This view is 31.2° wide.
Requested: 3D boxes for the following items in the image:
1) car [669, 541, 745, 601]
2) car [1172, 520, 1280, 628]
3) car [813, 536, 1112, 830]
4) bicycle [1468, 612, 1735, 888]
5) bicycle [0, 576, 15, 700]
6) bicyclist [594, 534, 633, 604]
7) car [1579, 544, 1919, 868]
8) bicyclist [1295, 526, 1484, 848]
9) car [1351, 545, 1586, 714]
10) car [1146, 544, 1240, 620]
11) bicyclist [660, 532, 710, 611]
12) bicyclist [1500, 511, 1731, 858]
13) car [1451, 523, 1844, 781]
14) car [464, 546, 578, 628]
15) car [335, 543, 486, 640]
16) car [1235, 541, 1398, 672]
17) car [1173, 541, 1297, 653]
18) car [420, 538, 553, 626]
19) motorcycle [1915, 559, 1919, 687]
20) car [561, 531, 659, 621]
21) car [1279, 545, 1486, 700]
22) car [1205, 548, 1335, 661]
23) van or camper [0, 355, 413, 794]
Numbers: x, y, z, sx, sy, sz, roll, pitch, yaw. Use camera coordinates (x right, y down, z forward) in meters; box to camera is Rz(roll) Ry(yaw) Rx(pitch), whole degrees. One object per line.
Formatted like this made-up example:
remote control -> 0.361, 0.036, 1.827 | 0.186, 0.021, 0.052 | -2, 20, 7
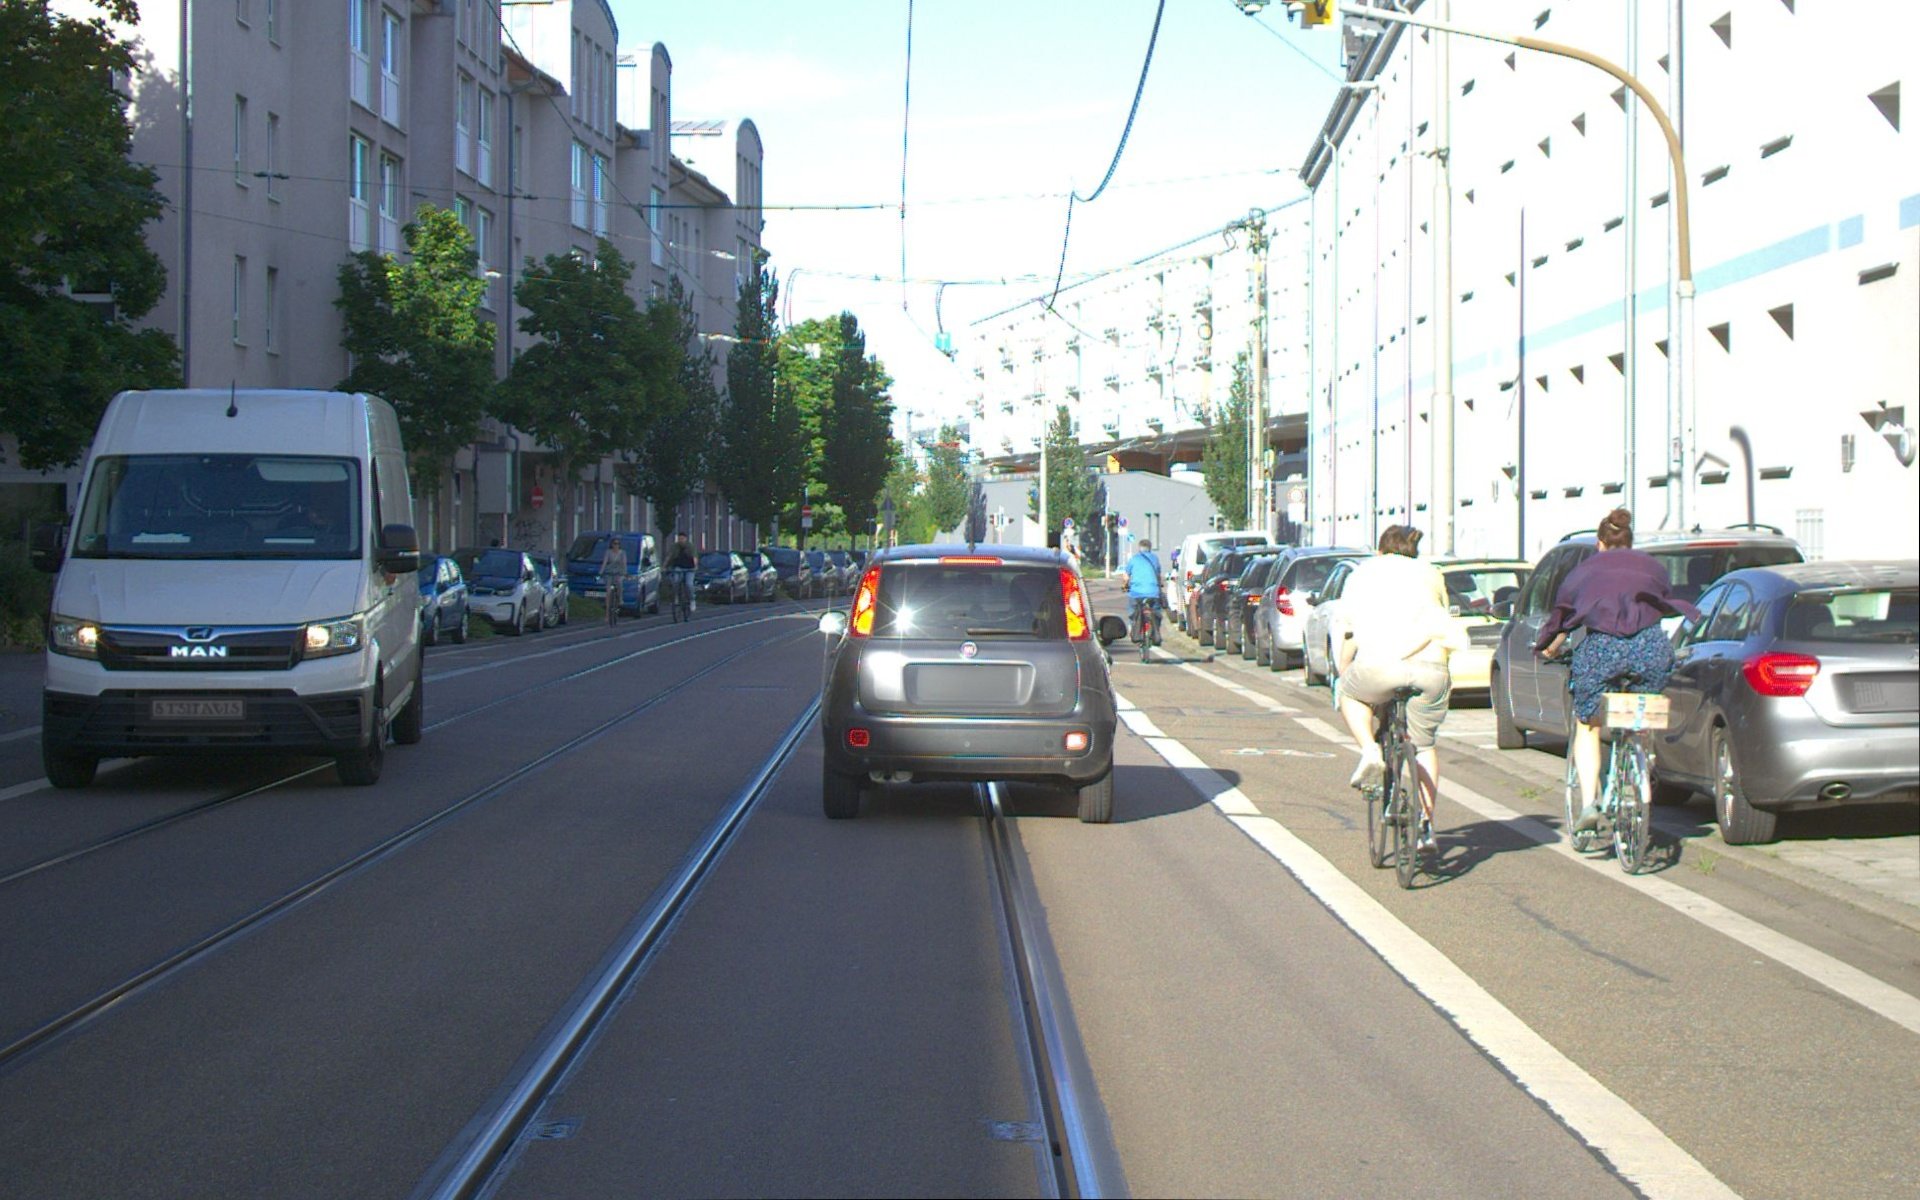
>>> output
car -> -6.925, -0.813, 94.538 | 1.665, 1.612, 4.000 | 1, 1, 2
car -> 5.034, -0.515, 65.508 | 1.786, 1.964, 4.154 | -1, 1, 1
car -> -0.023, 0.406, 19.847 | 1.556, 1.527, 3.487 | 1, 1, -1
bicycle -> 3.225, 0.718, 17.542 | 0.821, 1.232, 2.462 | 2, 1, -1
bicycle -> -9.301, 0.325, 30.125 | 1.877, 1.081, 0.595 | 0, 1, 2
bicyclist -> -7.072, -0.636, 70.145 | 0.623, 1.376, 0.868 | -4, 1, 0
car -> 4.735, 0.488, 19.086 | 1.864, 1.549, 4.366 | -1, 1, 1
bicyclist -> 2.000, 0.385, 16.127 | 0.727, 1.457, 1.021 | 1, 1, -1
car -> 4.866, 0.234, 33.402 | 1.513, 1.426, 4.202 | -4, 1, -1
car -> 5.180, -0.426, 77.018 | 1.844, 1.640, 4.549 | 0, 1, 1
bicyclist -> -5.584, -0.589, 69.796 | 0.881, 1.556, 0.868 | -3, 1, 0
bicyclist -> 3.255, 0.402, 17.152 | 0.934, 1.670, 0.969 | 1, 1, -1
car -> 4.834, 0.302, 24.827 | 1.754, 1.660, 4.626 | -1, 1, -2
car -> -8.841, -0.295, 69.511 | 1.829, 1.588, 4.000 | 0, 1, 0
car -> -9.014, -0.167, 56.671 | 1.829, 1.484, 4.000 | -1, 1, 0
car -> 4.679, 0.050, 45.553 | 1.754, 1.565, 3.904 | -3, 1, 1
car -> 4.415, -0.076, 55.607 | 1.660, 1.664, 3.904 | -3, 1, 1
car -> -8.864, -0.356, 64.650 | 1.830, 1.588, 4.000 | 0, 1, 2
motorcycle -> 4.715, 0.583, 13.992 | 0.805, 1.516, 2.709 | -2, 1, -1
car -> -7.984, -0.576, 78.751 | 1.665, 1.980, 4.343 | 1, 1, 2
car -> 4.570, 0.200, 37.734 | 1.679, 1.565, 4.510 | -1, 1, 0
car -> 4.484, 0.038, 50.223 | 1.591, 1.532, 4.007 | -2, 1, 1
van or camper -> -5.003, -0.200, 23.467 | 2.369, 2.544, 6.836 | 0, 1, -8
